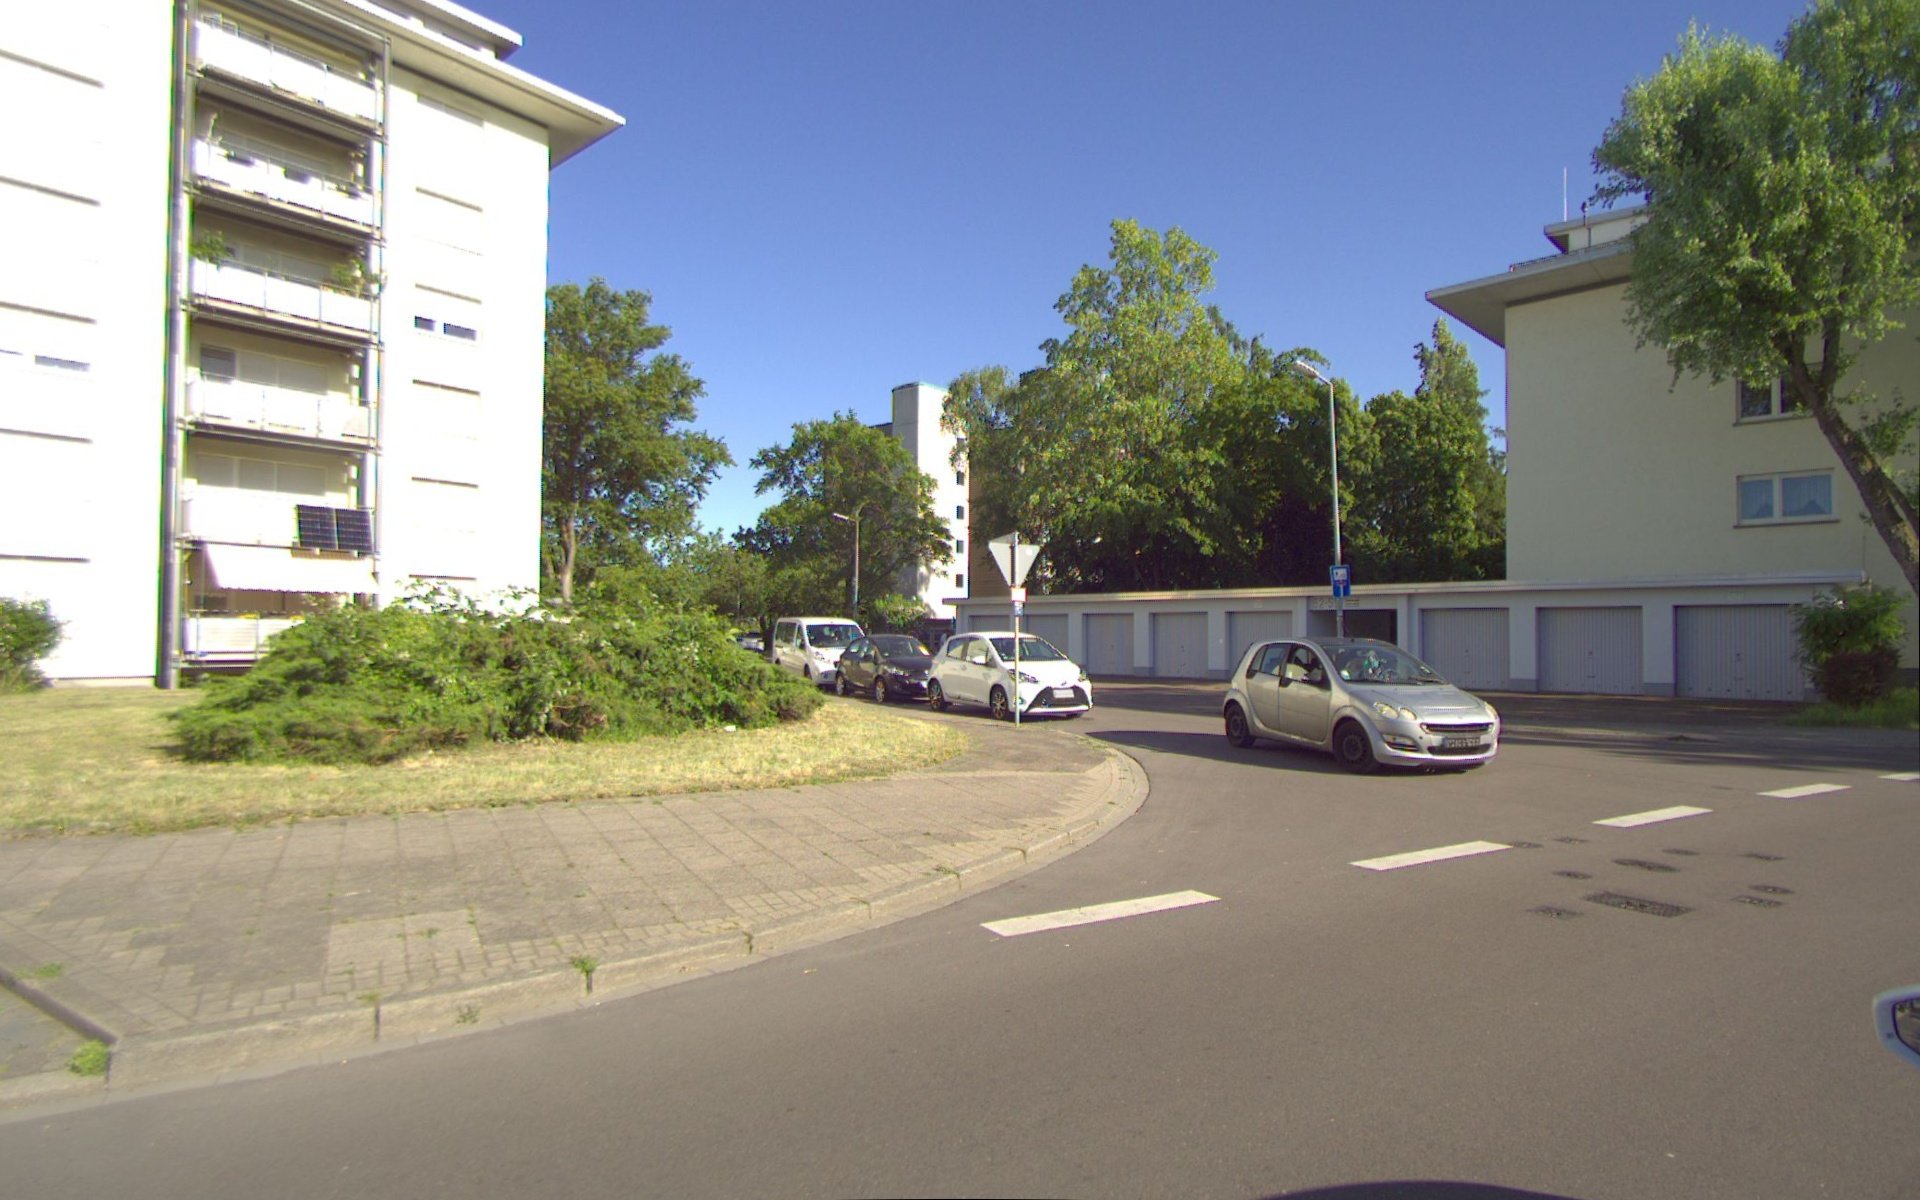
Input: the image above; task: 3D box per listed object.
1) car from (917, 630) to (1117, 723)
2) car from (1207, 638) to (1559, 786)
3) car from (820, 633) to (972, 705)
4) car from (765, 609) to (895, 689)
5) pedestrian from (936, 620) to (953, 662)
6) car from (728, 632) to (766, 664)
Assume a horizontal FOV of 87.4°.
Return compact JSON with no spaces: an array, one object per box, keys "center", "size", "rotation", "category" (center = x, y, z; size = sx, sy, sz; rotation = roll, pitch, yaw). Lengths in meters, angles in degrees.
[{"center":[0.895,1.325,18.274],"size":[2.016,1.483,3.976],"rotation":[1,-3,-25],"category":"car"},{"center":[4.842,1.212,12.200],"size":[1.964,1.480,3.931],"rotation":[1,-3,-14],"category":"car"},{"center":[-1.590,1.531,23.088],"size":[2.016,1.480,4.430],"rotation":[1,-3,-25],"category":"car"},{"center":[-3.713,1.320,27.784],"size":[2.206,1.976,5.092],"rotation":[1,-2,-24],"category":"car"},{"center":[-0.627,1.667,40.761],"size":[0.528,1.675,0.553],"rotation":[0,-2,18],"category":"pedestrian"},{"center":[-12.997,2.896,61.039],"size":[1.825,1.900,3.984],"rotation":[1,-2,-18],"category":"car"}]
